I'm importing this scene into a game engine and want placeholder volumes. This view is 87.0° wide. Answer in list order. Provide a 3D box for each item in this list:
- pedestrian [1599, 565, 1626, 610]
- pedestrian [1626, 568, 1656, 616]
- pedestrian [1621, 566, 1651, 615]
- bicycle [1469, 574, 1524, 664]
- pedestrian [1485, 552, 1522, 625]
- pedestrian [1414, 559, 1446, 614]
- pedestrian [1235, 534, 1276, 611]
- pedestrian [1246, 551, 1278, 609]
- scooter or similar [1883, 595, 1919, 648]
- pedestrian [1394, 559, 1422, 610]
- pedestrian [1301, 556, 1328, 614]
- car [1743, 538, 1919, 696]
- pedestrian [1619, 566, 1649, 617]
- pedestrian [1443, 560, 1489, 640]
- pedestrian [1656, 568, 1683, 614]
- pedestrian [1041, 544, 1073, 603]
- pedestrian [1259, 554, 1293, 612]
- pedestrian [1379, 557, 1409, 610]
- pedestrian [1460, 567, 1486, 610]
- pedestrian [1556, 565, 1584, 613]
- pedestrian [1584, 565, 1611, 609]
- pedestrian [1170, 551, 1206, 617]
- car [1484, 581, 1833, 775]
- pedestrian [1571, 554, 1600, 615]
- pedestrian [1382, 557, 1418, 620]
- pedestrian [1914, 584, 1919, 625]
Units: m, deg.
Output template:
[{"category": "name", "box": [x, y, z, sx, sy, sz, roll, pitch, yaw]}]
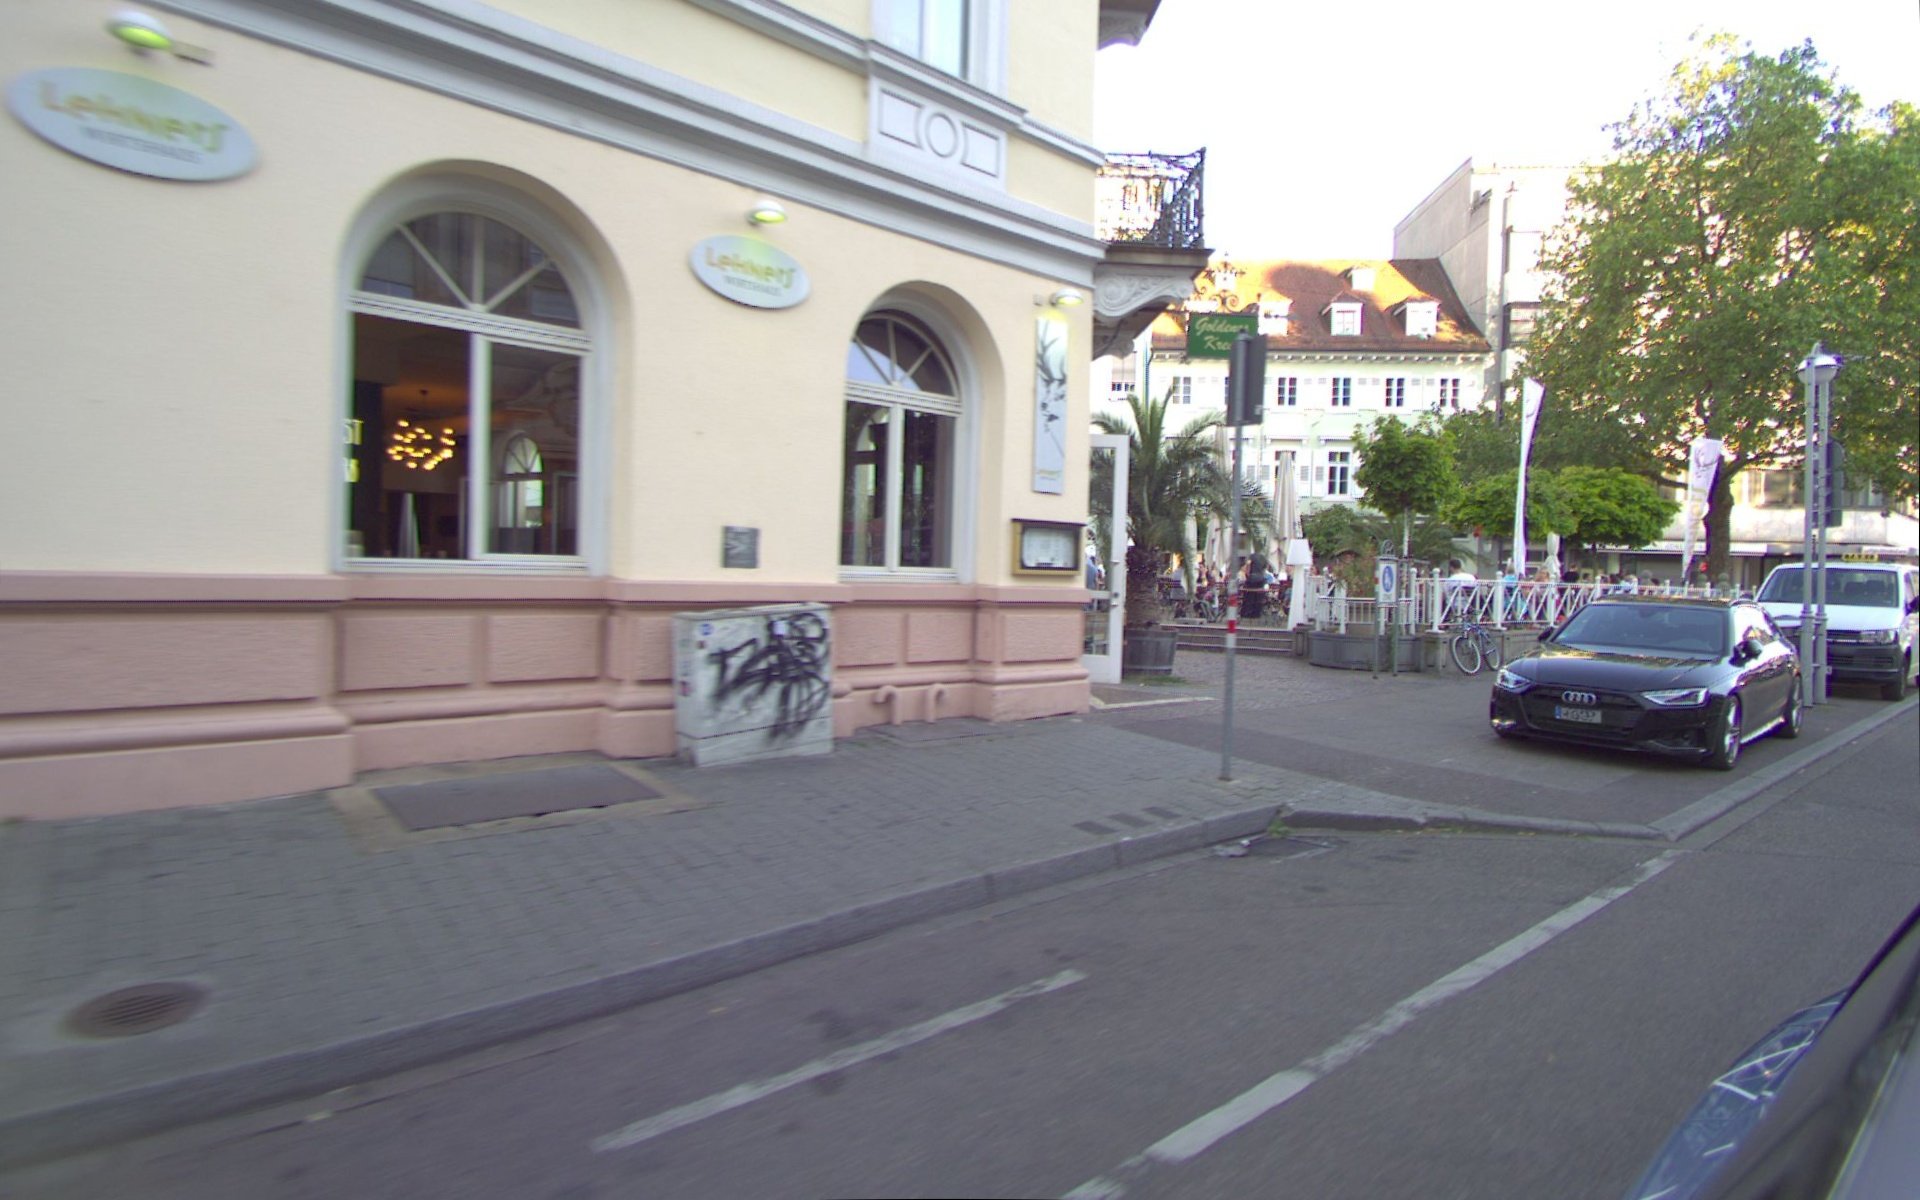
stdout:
[{"category": "pedestrian", "box": [19.291, -0.361, 29.934, 0.482, 1.313, 0.531, 0, 1, -40]}, {"category": "pedestrian", "box": [18.862, -0.233, 28.031, 0.482, 1.313, 0.531, 0, 1, -40]}, {"category": "pedestrian", "box": [18.414, -0.258, 27.558, 0.482, 1.313, 0.531, 0, 1, -40]}, {"category": "bicycle", "box": [8.717, 0.292, 16.415, 1.268, 1.408, 0.344, 0, 1, -41]}, {"category": "pedestrian", "box": [9.983, -0.218, 18.592, 0.529, 1.312, 0.485, 2, 1, 34]}, {"category": "pedestrian", "box": [11.713, -0.348, 25.210, 0.482, 1.349, 0.531, 0, 1, -40]}, {"category": "pedestrian", "box": [6.681, -0.621, 22.878, 0.588, 1.713, 0.721, 2, 1, 42]}, {"category": "pedestrian", "box": [7.189, -0.472, 24.109, 0.523, 1.349, 0.490, 0, 1, -40]}, {"category": "scooter or similar", "box": [23.856, 0.550, 25.071, 0.526, 1.247, 1.344, -1, 4, -42]}, {"category": "pedestrian", "box": [11.974, -0.417, 27.044, 0.523, 1.349, 0.490, 0, 1, -40]}, {"category": "pedestrian", "box": [7.989, -0.339, 22.781, 0.486, 1.282, 0.527, 2, 1, 26]}, {"category": "car", "box": [14.028, 0.158, 15.762, 5.124, 2.092, 1.856, -1, 3, -41]}, {"category": "pedestrian", "box": [18.052, -0.240, 27.113, 0.482, 1.349, 0.531, 0, 1, -40]}, {"category": "pedestrian", "box": [8.516, -0.011, 17.035, 0.482, 1.312, 0.531, 0, 1, -40]}, {"category": "pedestrian", "box": [20.821, -0.264, 29.692, 0.482, 1.349, 0.531, 0, 1, -40]}, {"category": "pedestrian", "box": [2.261, -0.619, 23.631, 0.523, 1.349, 0.490, 0, 1, -40]}, {"category": "pedestrian", "box": [7.658, -0.419, 24.509, 0.588, 1.394, 0.524, 2, 1, 43]}, {"category": "pedestrian", "box": [11.163, -0.420, 26.041, 0.523, 1.349, 0.490, 0, 1, -40]}, {"category": "pedestrian", "box": [15.759, -0.364, 31.100, 0.482, 1.313, 0.531, 0, 1, -40]}, {"category": "pedestrian", "box": [17.045, -0.310, 28.286, 0.482, 1.313, 0.531, 0, 1, -40]}, {"category": "pedestrian", "box": [19.310, -0.397, 30.656, 0.482, 1.313, 0.531, 0, 1, -40]}, {"category": "pedestrian", "box": [4.764, -0.342, 21.144, 0.523, 1.349, 0.490, 0, 1, -40]}, {"category": "car", "box": [6.941, 0.559, 9.858, 4.468, 1.407, 1.700, -1, 4, -41]}, {"category": "pedestrian", "box": [16.394, -0.416, 26.523, 0.523, 1.578, 0.490, 0, 1, -40]}, {"category": "pedestrian", "box": [9.577, -0.263, 22.015, 0.482, 1.349, 0.531, 0, 1, -40]}, {"category": "pedestrian", "box": [38.759, 0.174, 40.578, 0.635, 1.645, 0.512, 2, 2, 39]}]
